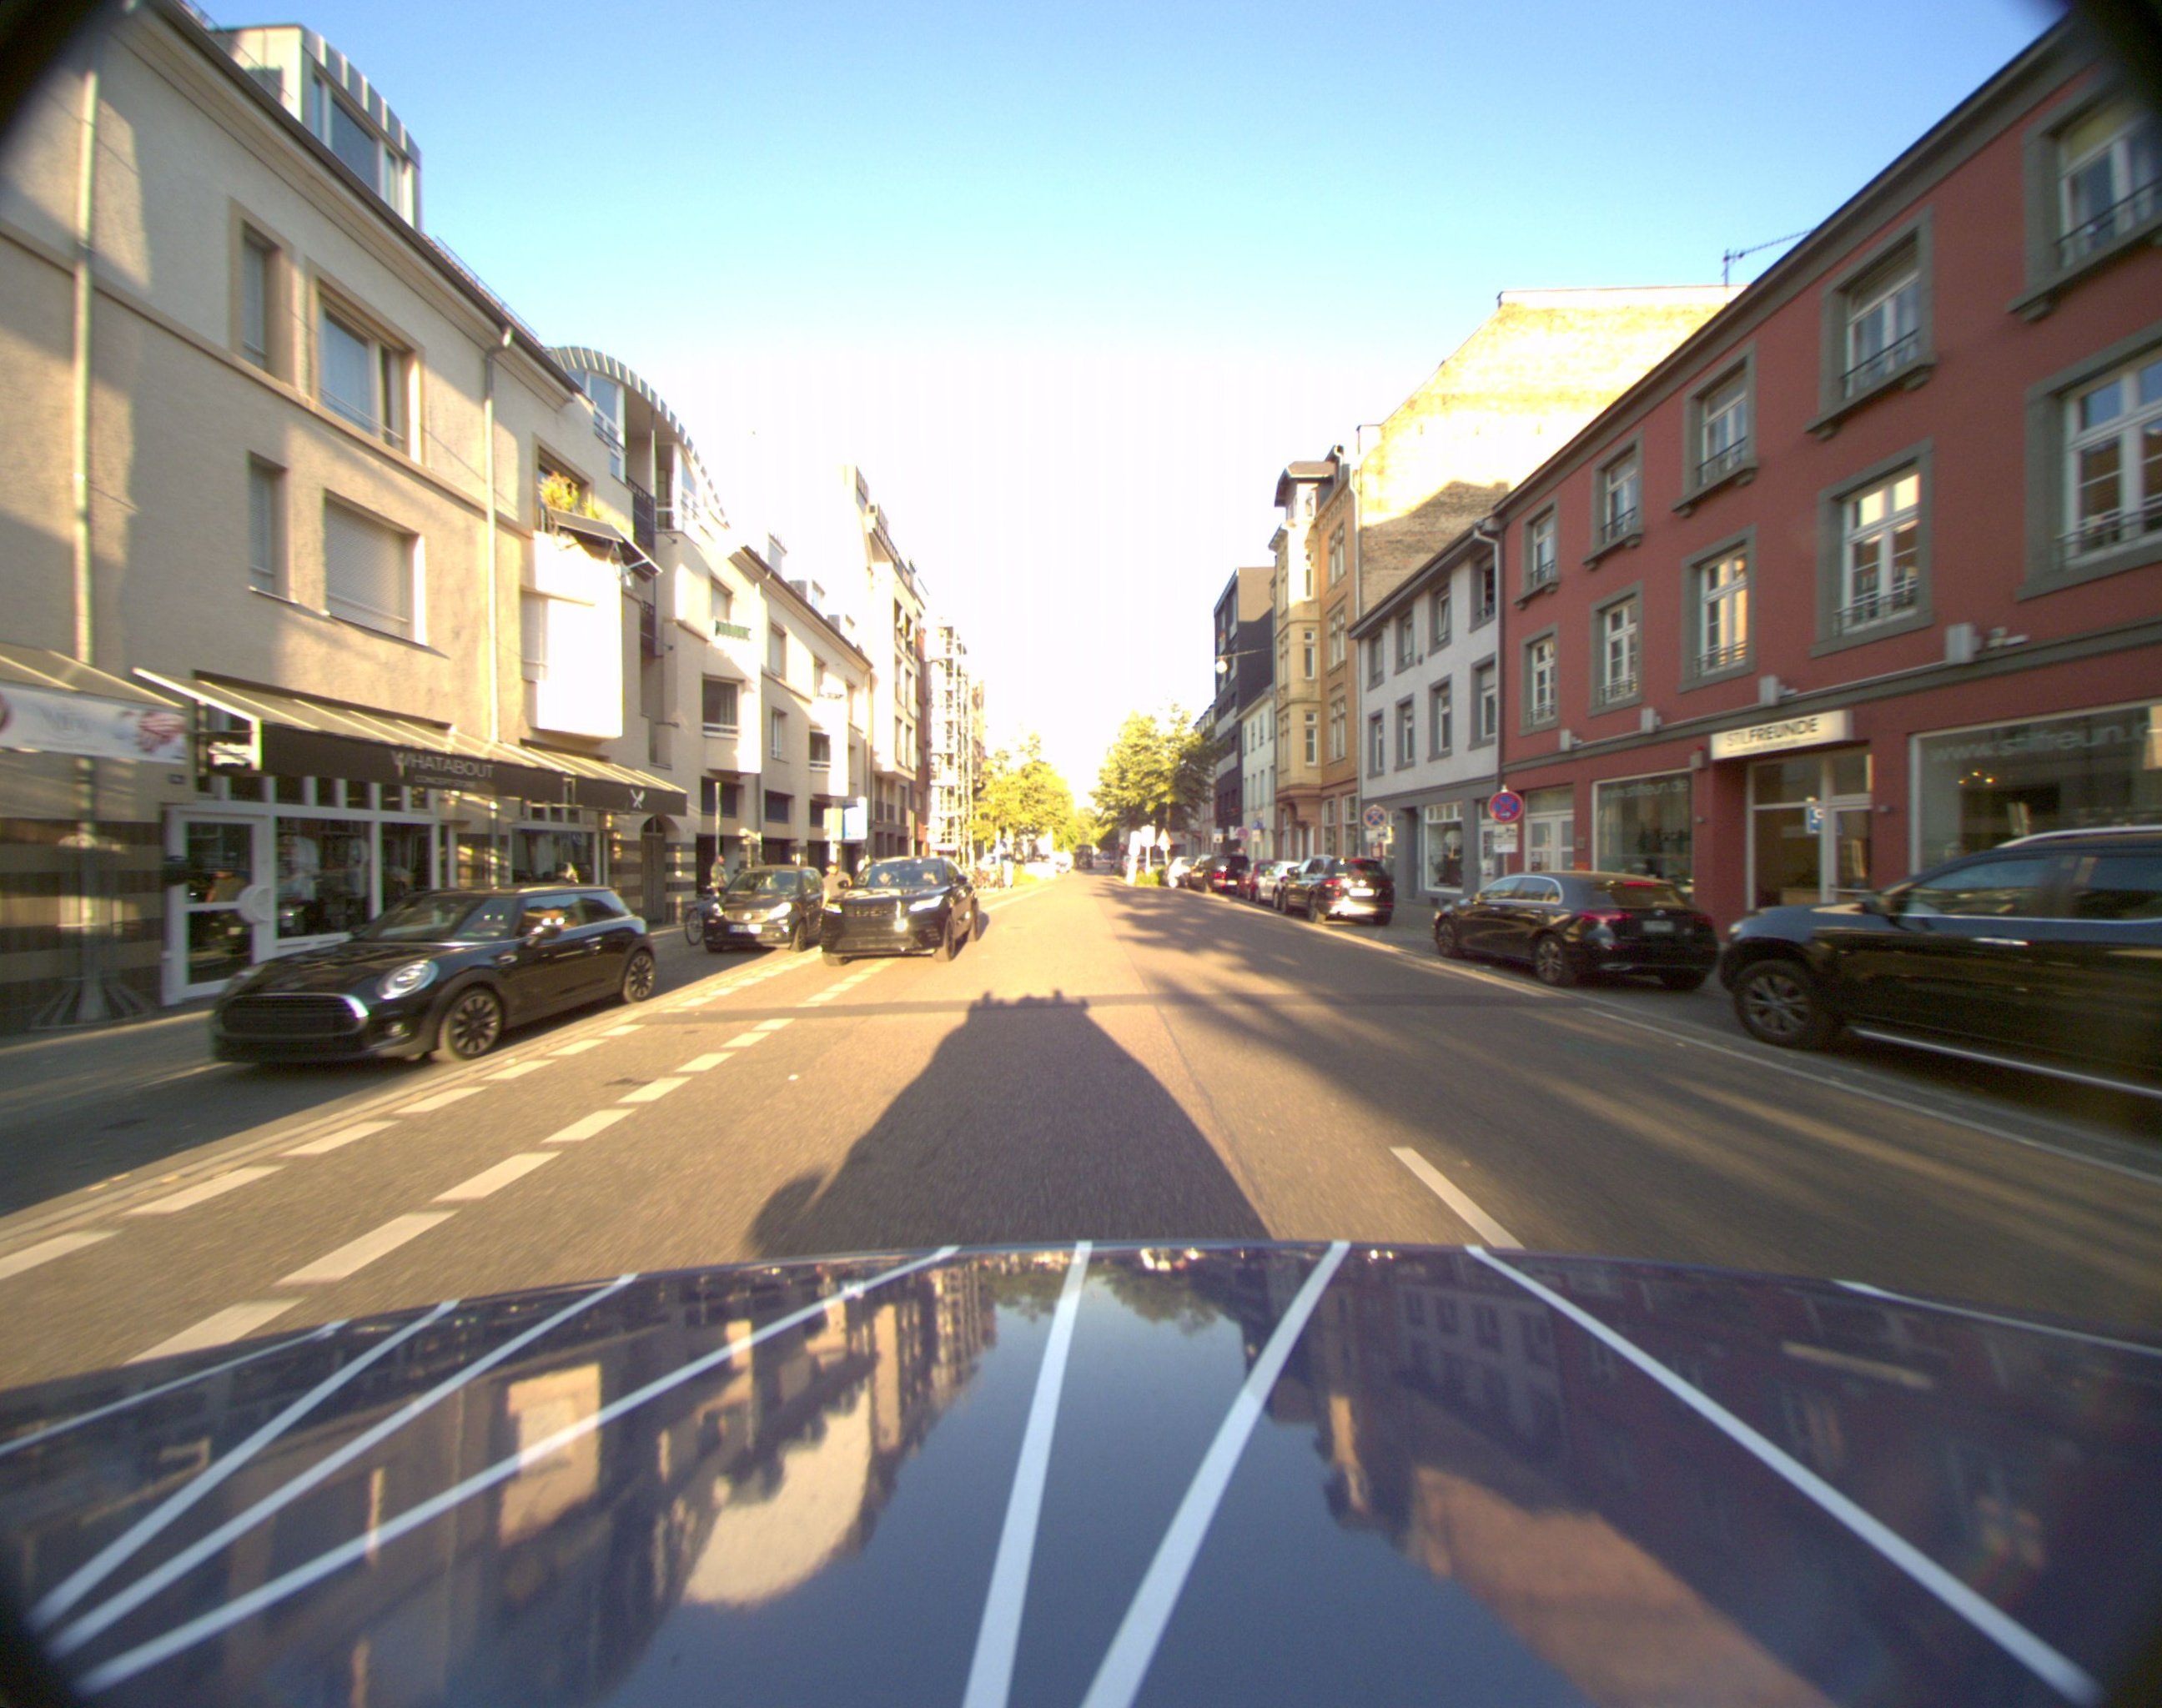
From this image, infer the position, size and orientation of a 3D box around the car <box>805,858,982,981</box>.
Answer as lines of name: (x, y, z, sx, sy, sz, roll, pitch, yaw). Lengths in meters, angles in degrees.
car: (-2.920, 0.945, 12.849, 1.890, 1.626, 4.227, -2, 0, 0)

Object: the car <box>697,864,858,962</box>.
car: (-5.760, 1.040, 14.946, 1.621, 1.583, 3.925, -1, 0, -1)

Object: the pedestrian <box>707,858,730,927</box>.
pedestrian: (-9.683, 1.004, 20.299, 0.450, 1.789, 0.575, -3, 1, -24)

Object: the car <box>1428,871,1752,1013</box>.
car: (6.626, 1.036, 10.526, 1.705, 1.429, 4.014, 2, 0, -1)

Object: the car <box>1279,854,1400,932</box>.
car: (6.386, 0.882, 19.265, 1.724, 1.674, 4.049, 2, 0, 2)

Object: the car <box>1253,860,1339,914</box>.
car: (6.626, 0.973, 23.776, 1.689, 1.461, 3.691, 2, 0, 2)

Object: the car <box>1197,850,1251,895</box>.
car: (6.029, 0.741, 32.404, 1.673, 1.764, 3.565, 2, 0, 2)

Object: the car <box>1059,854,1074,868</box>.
car: (-1.626, 0.766, 87.211, 1.622, 1.465, 3.688, -2, 0, 0)

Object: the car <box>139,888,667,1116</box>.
car: (-5.892, 1.141, 7.377, 1.621, 1.426, 3.925, 0, 0, -1)

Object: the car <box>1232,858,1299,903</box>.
car: (6.803, 0.935, 28.353, 1.673, 1.449, 3.565, 2, 0, 2)

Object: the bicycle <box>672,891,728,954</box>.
bicycle: (-7.400, 1.297, 14.800, 0.296, 1.079, 1.463, -1, 1, 1)

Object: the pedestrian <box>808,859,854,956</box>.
pedestrian: (-4.594, 0.973, 14.001, 0.631, 1.739, 0.670, 0, 1, -1)

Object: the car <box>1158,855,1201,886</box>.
car: (5.050, 0.814, 39.454, 1.673, 1.512, 3.564, 1, 0, -1)

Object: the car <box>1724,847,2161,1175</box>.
car: (6.698, 0.862, 4.347, 1.725, 1.769, 4.938, 1, 0, -2)
